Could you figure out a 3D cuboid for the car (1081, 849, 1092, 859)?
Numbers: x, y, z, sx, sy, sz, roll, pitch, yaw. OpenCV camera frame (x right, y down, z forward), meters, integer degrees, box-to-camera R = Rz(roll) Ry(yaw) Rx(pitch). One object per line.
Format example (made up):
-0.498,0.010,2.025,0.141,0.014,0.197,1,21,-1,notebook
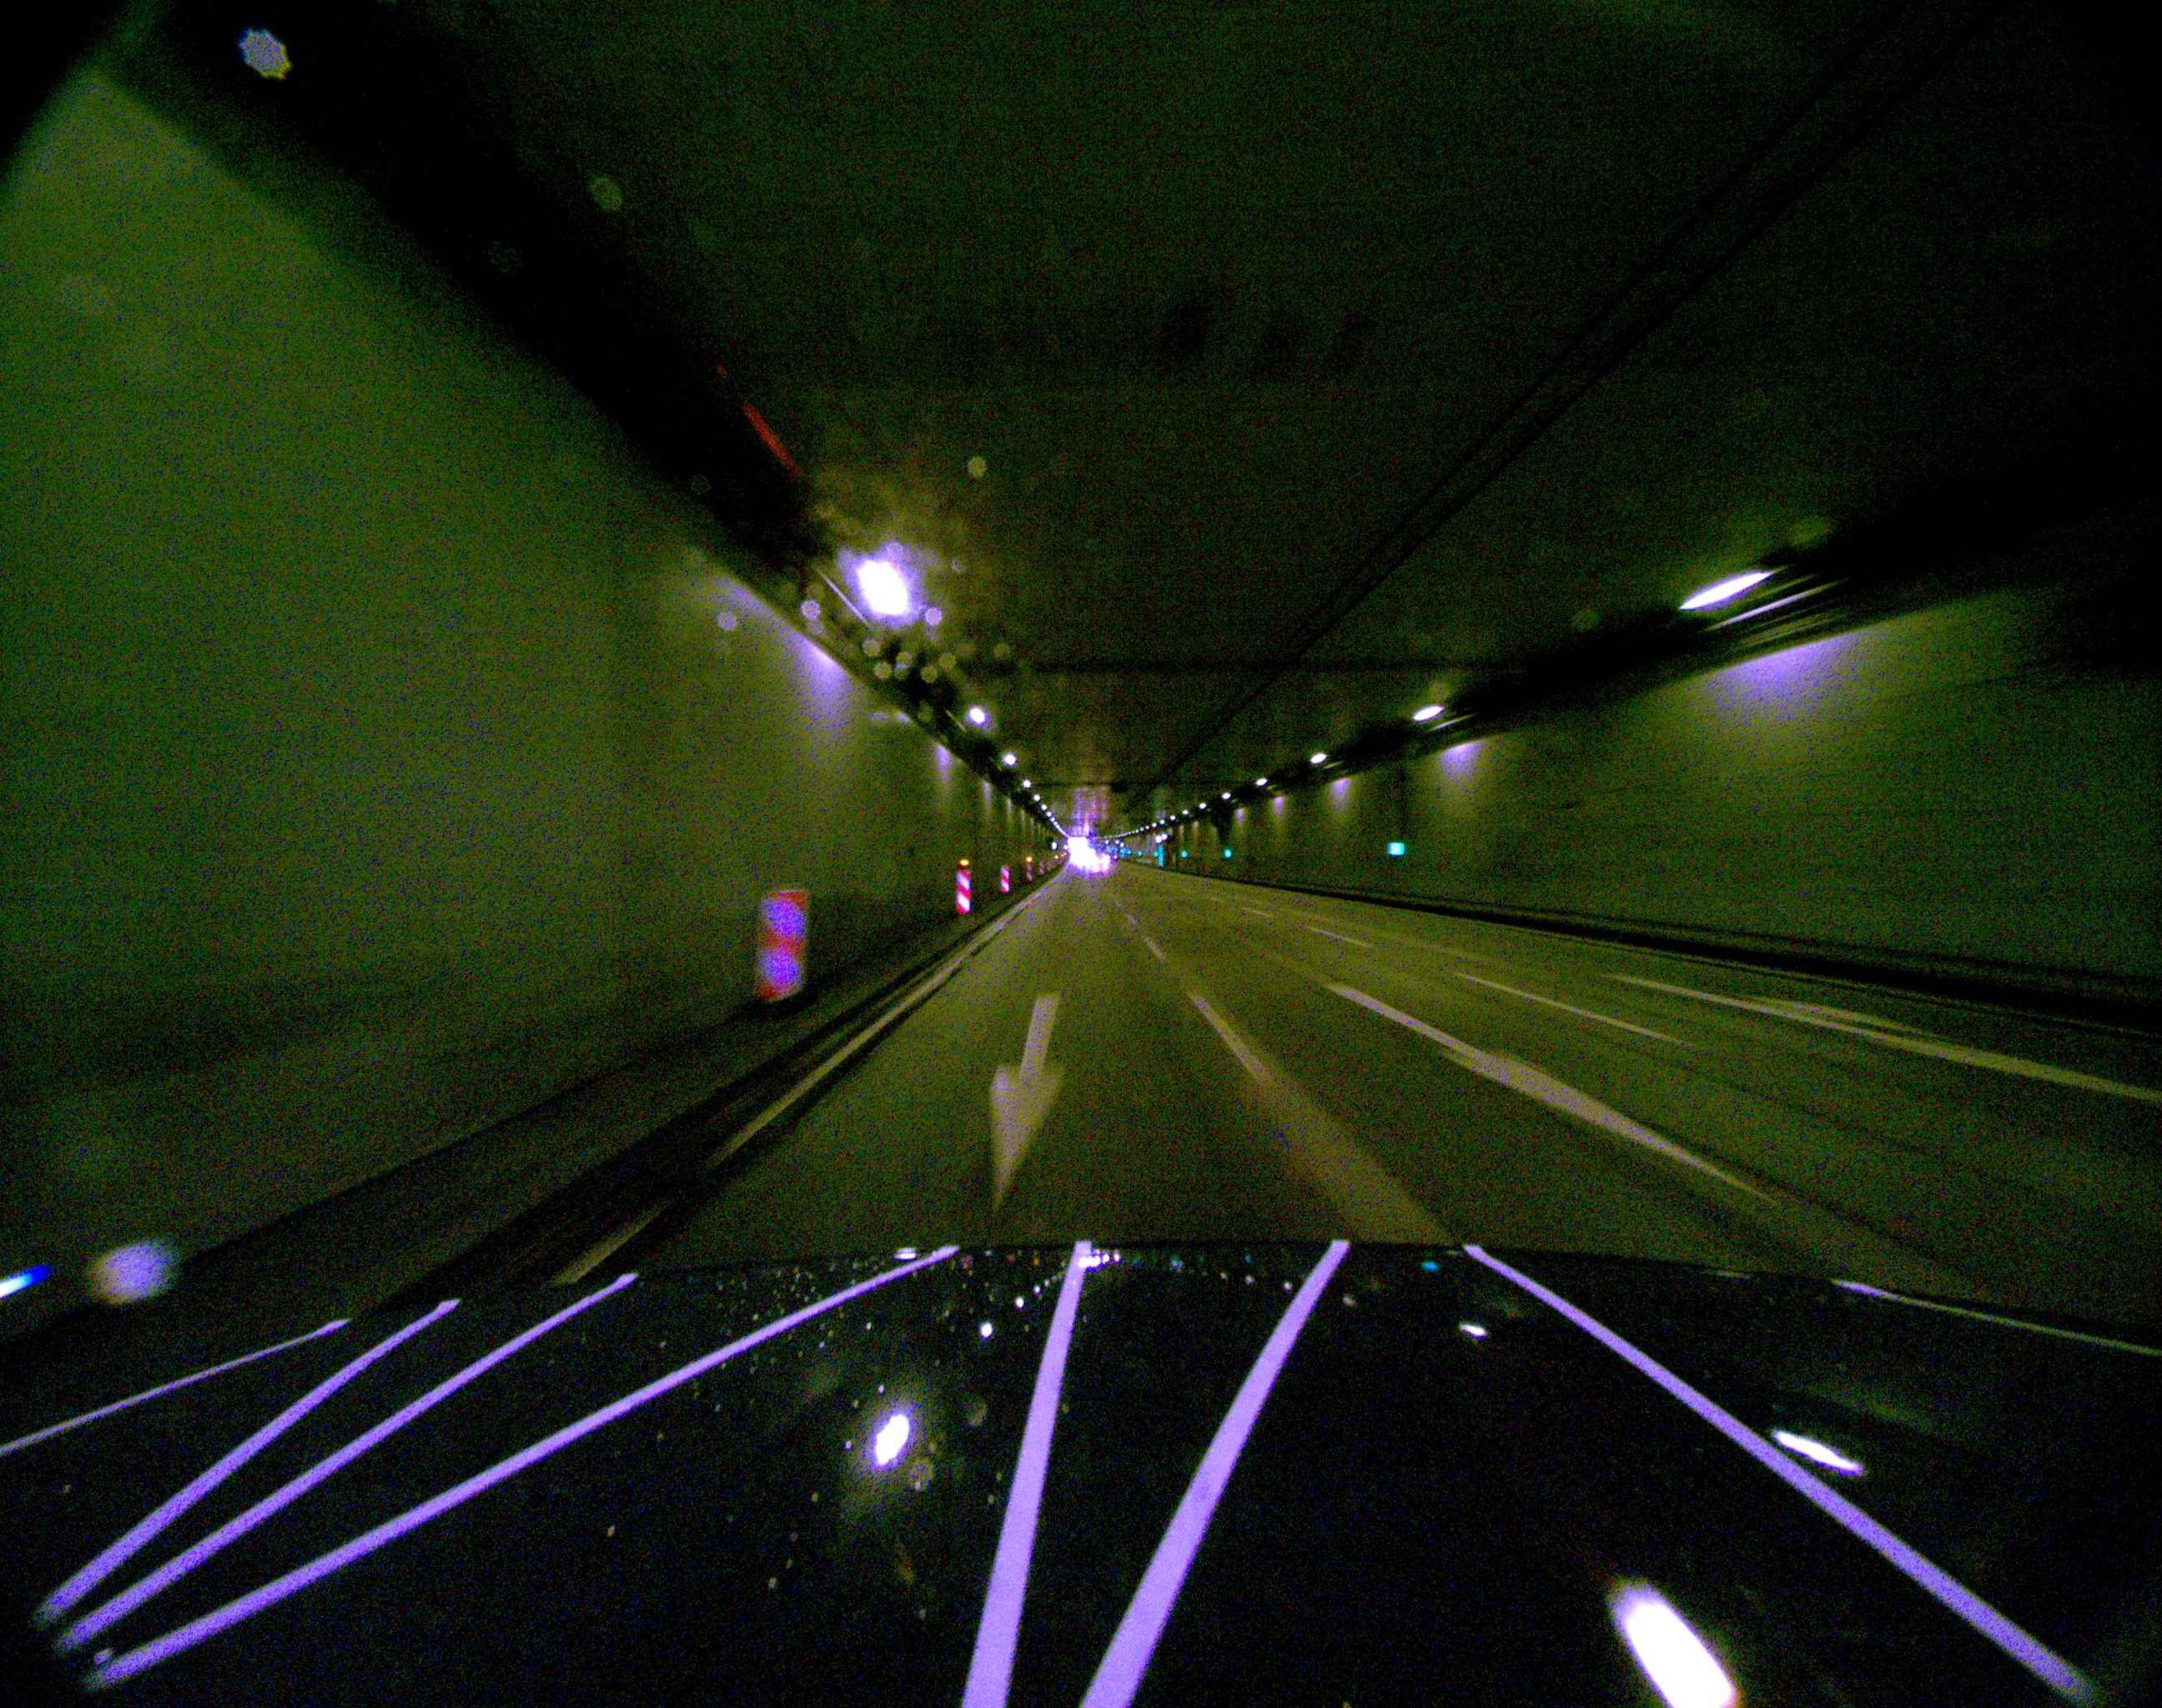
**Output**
1.022,0.006,145.435,1.998,1.686,3.999,-4,2,0,car

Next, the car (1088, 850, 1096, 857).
3.206,-0.218,218.973,1.998,1.756,3.999,-4,2,0,car

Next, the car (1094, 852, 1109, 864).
2.970,0.549,110.843,1.998,1.685,4.000,-2,0,0,car

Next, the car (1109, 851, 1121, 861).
6.028,0.365,135.539,1.998,1.686,4.000,-1,0,0,car
